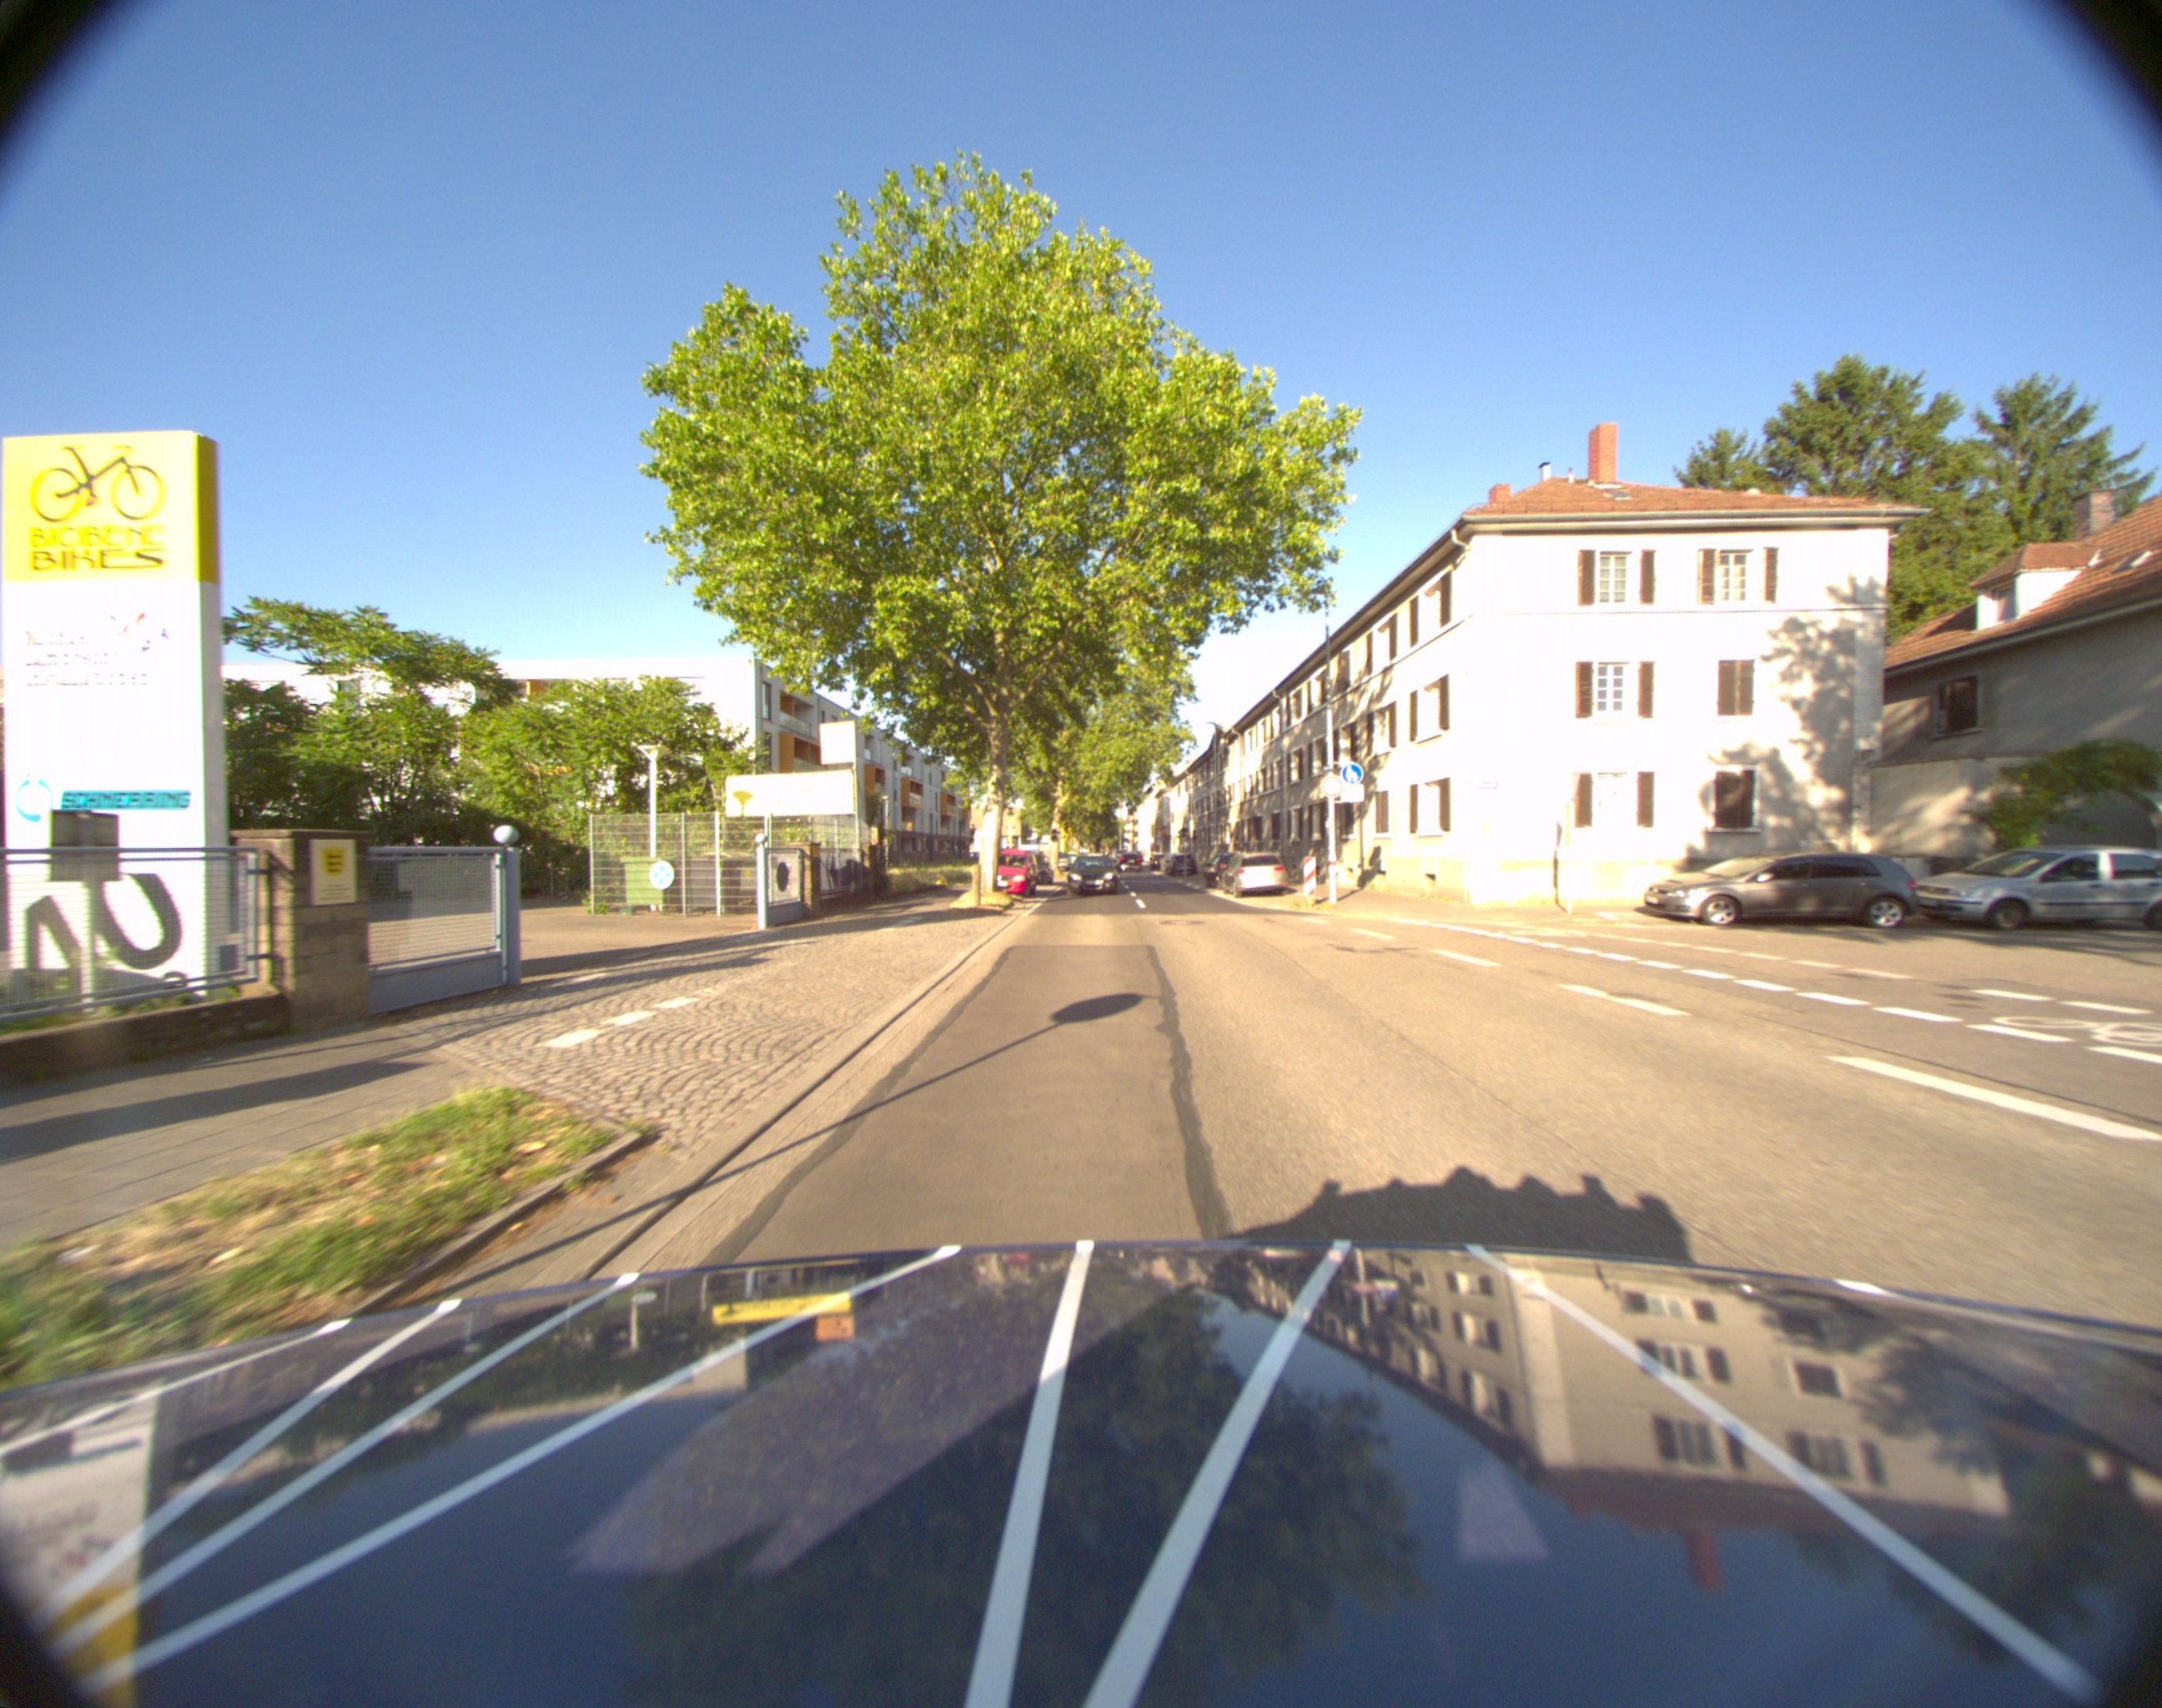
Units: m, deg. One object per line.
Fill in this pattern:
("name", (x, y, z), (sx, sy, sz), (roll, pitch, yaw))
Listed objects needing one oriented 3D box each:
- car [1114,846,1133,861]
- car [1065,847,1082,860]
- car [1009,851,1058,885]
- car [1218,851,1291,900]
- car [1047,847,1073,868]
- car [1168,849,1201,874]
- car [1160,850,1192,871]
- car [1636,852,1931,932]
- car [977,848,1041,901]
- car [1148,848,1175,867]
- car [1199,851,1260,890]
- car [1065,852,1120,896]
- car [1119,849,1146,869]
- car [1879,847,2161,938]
("car", (4.566, -0.059, 81.455), (1.870, 1.475, 4.086), (0, 1, 1))
("car", (-0.820, -0.125, 90.791), (1.885, 1.475, 4.000), (0, 1, 2))
("car", (-2.241, 0.622, 36.859), (1.704, 1.472, 4.697), (3, 1, 4))
("car", (5.915, 0.684, 26.376), (1.765, 1.475, 4.108), (-2, 0, 3))
("car", (-1.698, 0.256, 62.573), (1.869, 1.603, 4.087), (1, 0, 2))
("car", (6.937, 0.493, 51.276), (1.869, 1.475, 4.087), (-4, 0, 3))
("car", (7.117, 0.475, 57.305), (1.870, 1.475, 4.086), (-2, 0, 1))
("car", (14.196, 0.715, 15.652), (3.992, 1.411, 1.915), (0, 3, 14))
("car", (-2.419, 0.643, 26.322), (1.602, 1.680, 4.337), (1, 0, 3))
("car", (7.058, 0.303, 67.002), (1.870, 1.603, 4.086), (-1, 0, 0))
("car", (6.229, 0.640, 32.314), (1.711, 1.498, 4.053), (-2, 0, 0))
("car", (0.390, 0.690, 28.252), (1.870, 1.471, 4.085), (0, 1, 0))
("car", (4.168, 0.392, 62.088), (1.901, 1.581, 4.069), (0, 0, 1))
("car", (18.467, 0.680, 14.551), (3.992, 1.552, 1.866), (0, 2, 14))
